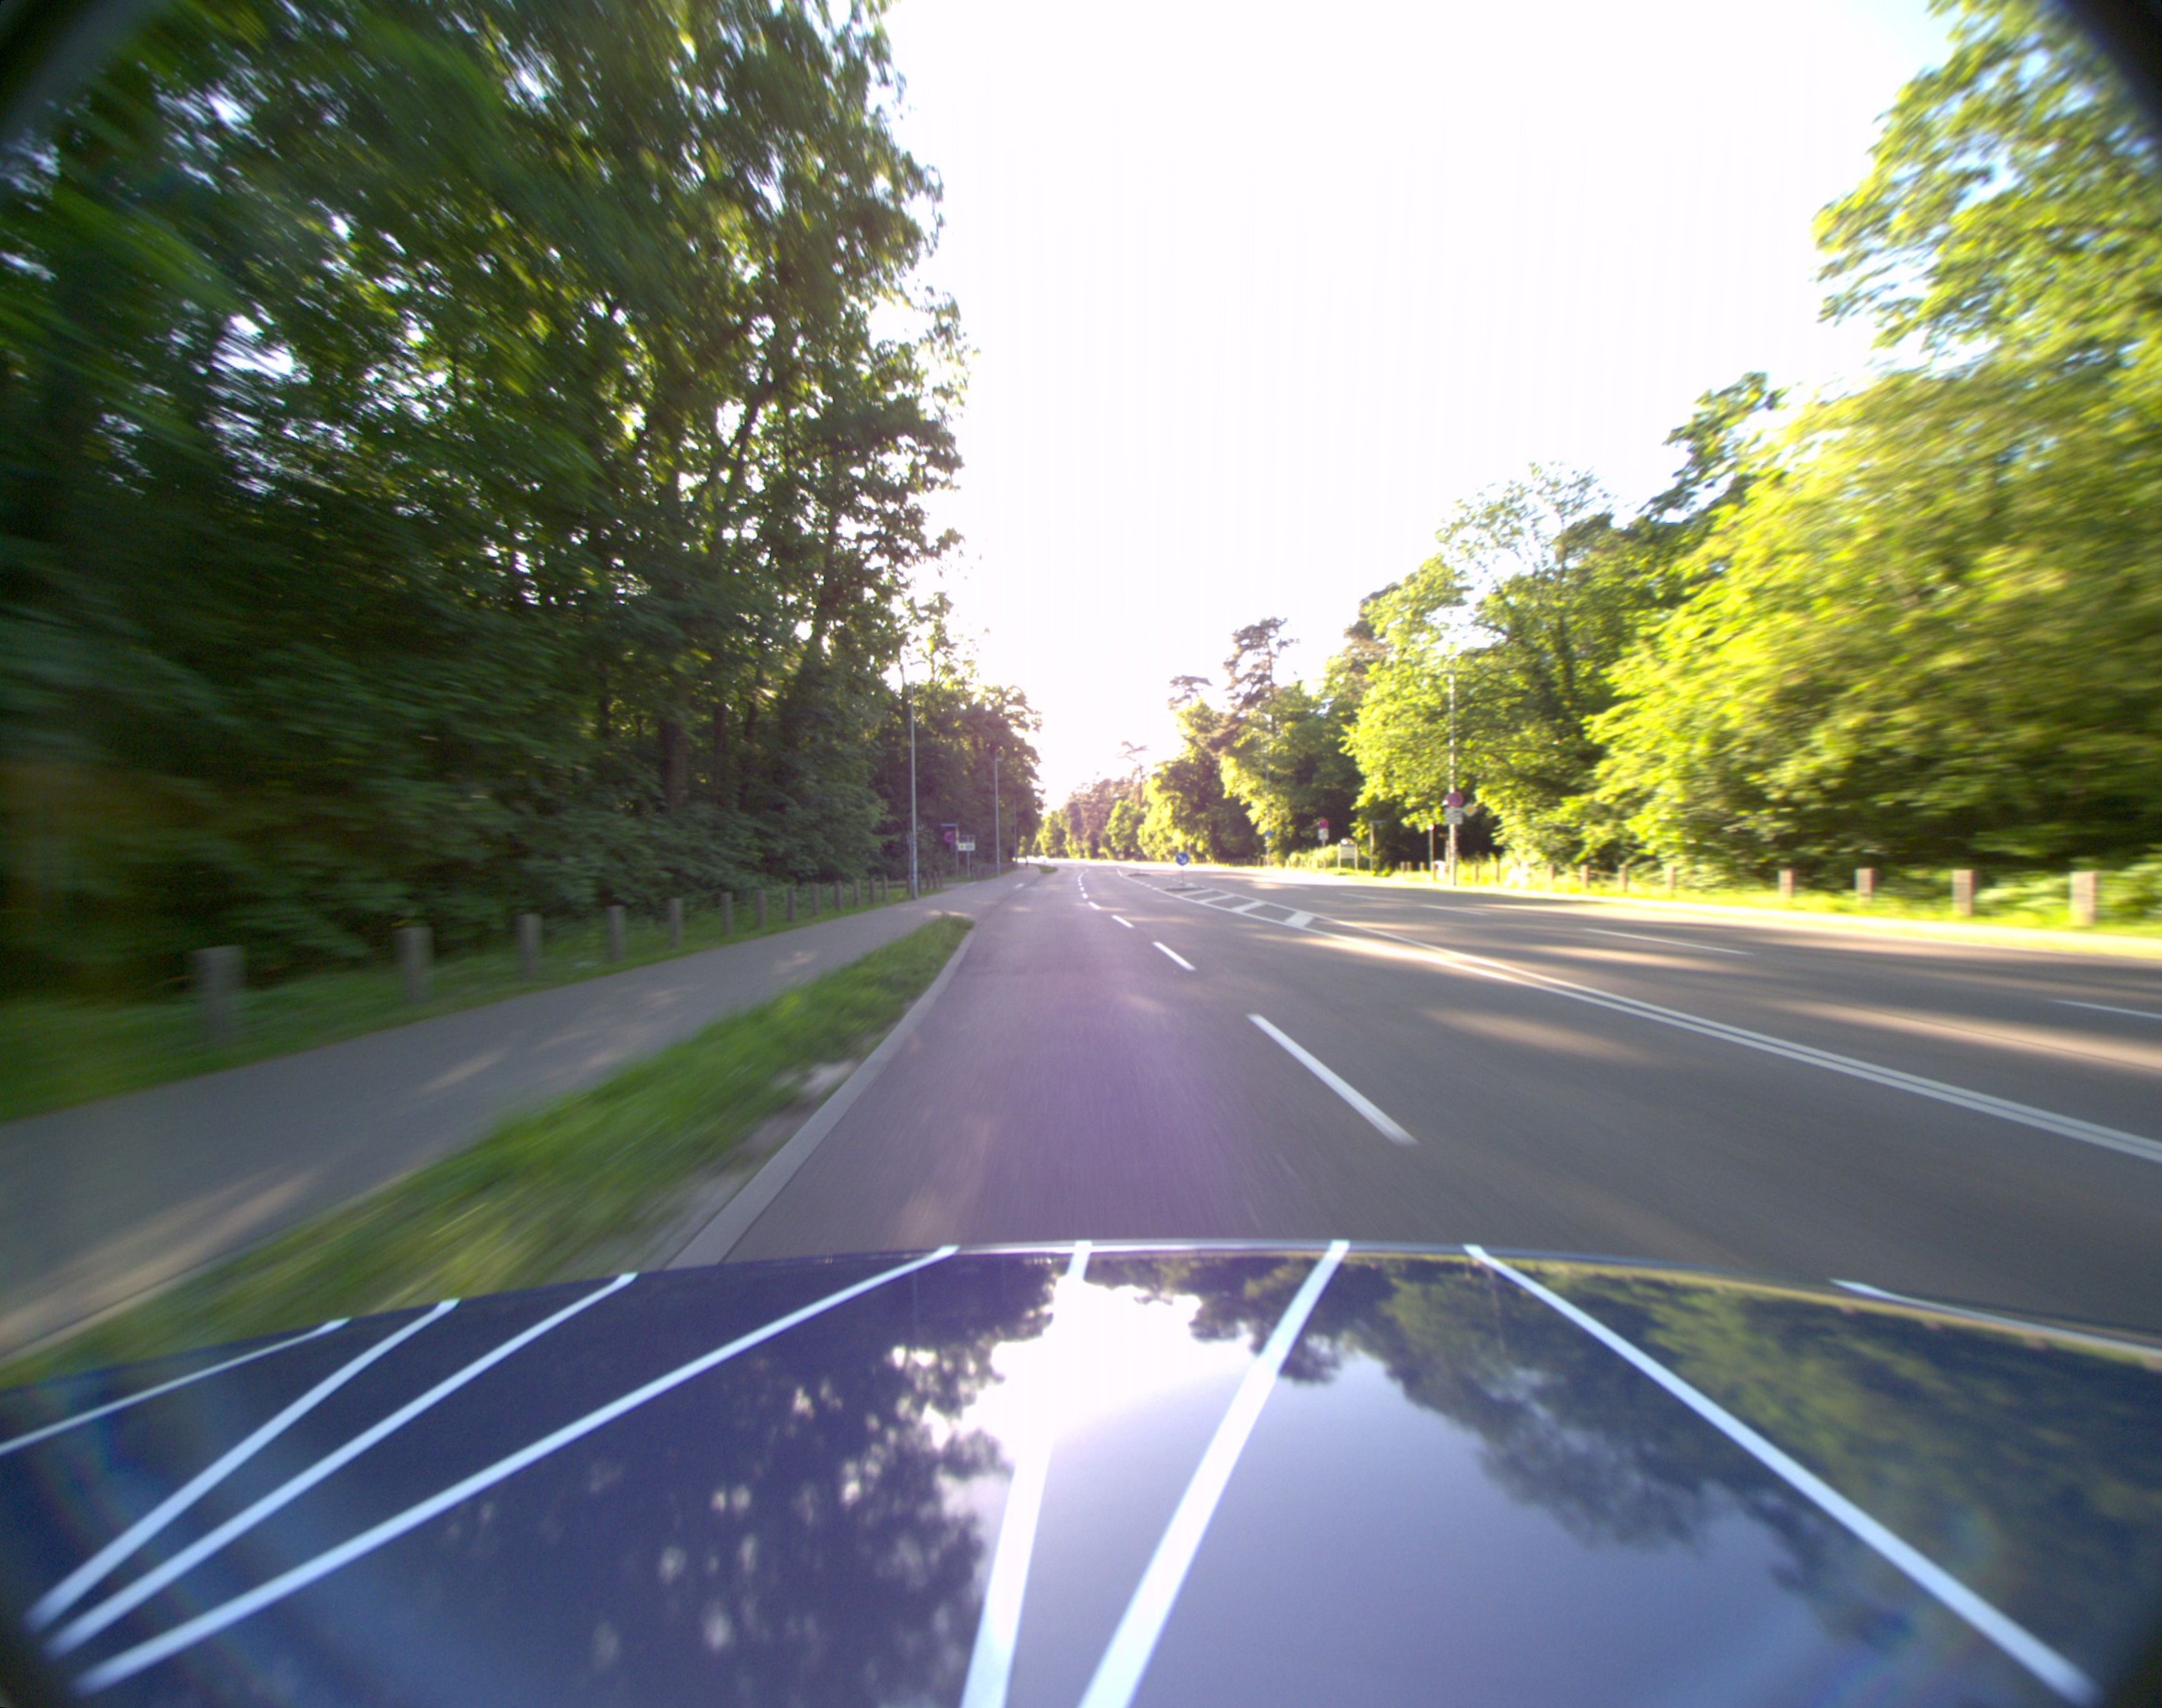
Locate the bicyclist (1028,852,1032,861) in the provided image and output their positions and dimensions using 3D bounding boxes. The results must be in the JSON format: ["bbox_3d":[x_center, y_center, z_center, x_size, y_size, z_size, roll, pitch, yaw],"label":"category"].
[{"bbox_3d":[-7.367,0.340,109.432,0.514,1.260,0.497,-1,0,-6],"label":"bicyclist"}]

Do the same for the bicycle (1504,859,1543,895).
[{"bbox_3d":[15.429,0.780,26.534,0.402,1.125,2.221,-2,0,10],"label":"bicycle"}]

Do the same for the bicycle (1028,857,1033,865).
[{"bbox_3d":[-7.310,0.992,109.135,0.608,1.051,2.873,-1,0,-6],"label":"bicycle"}]
